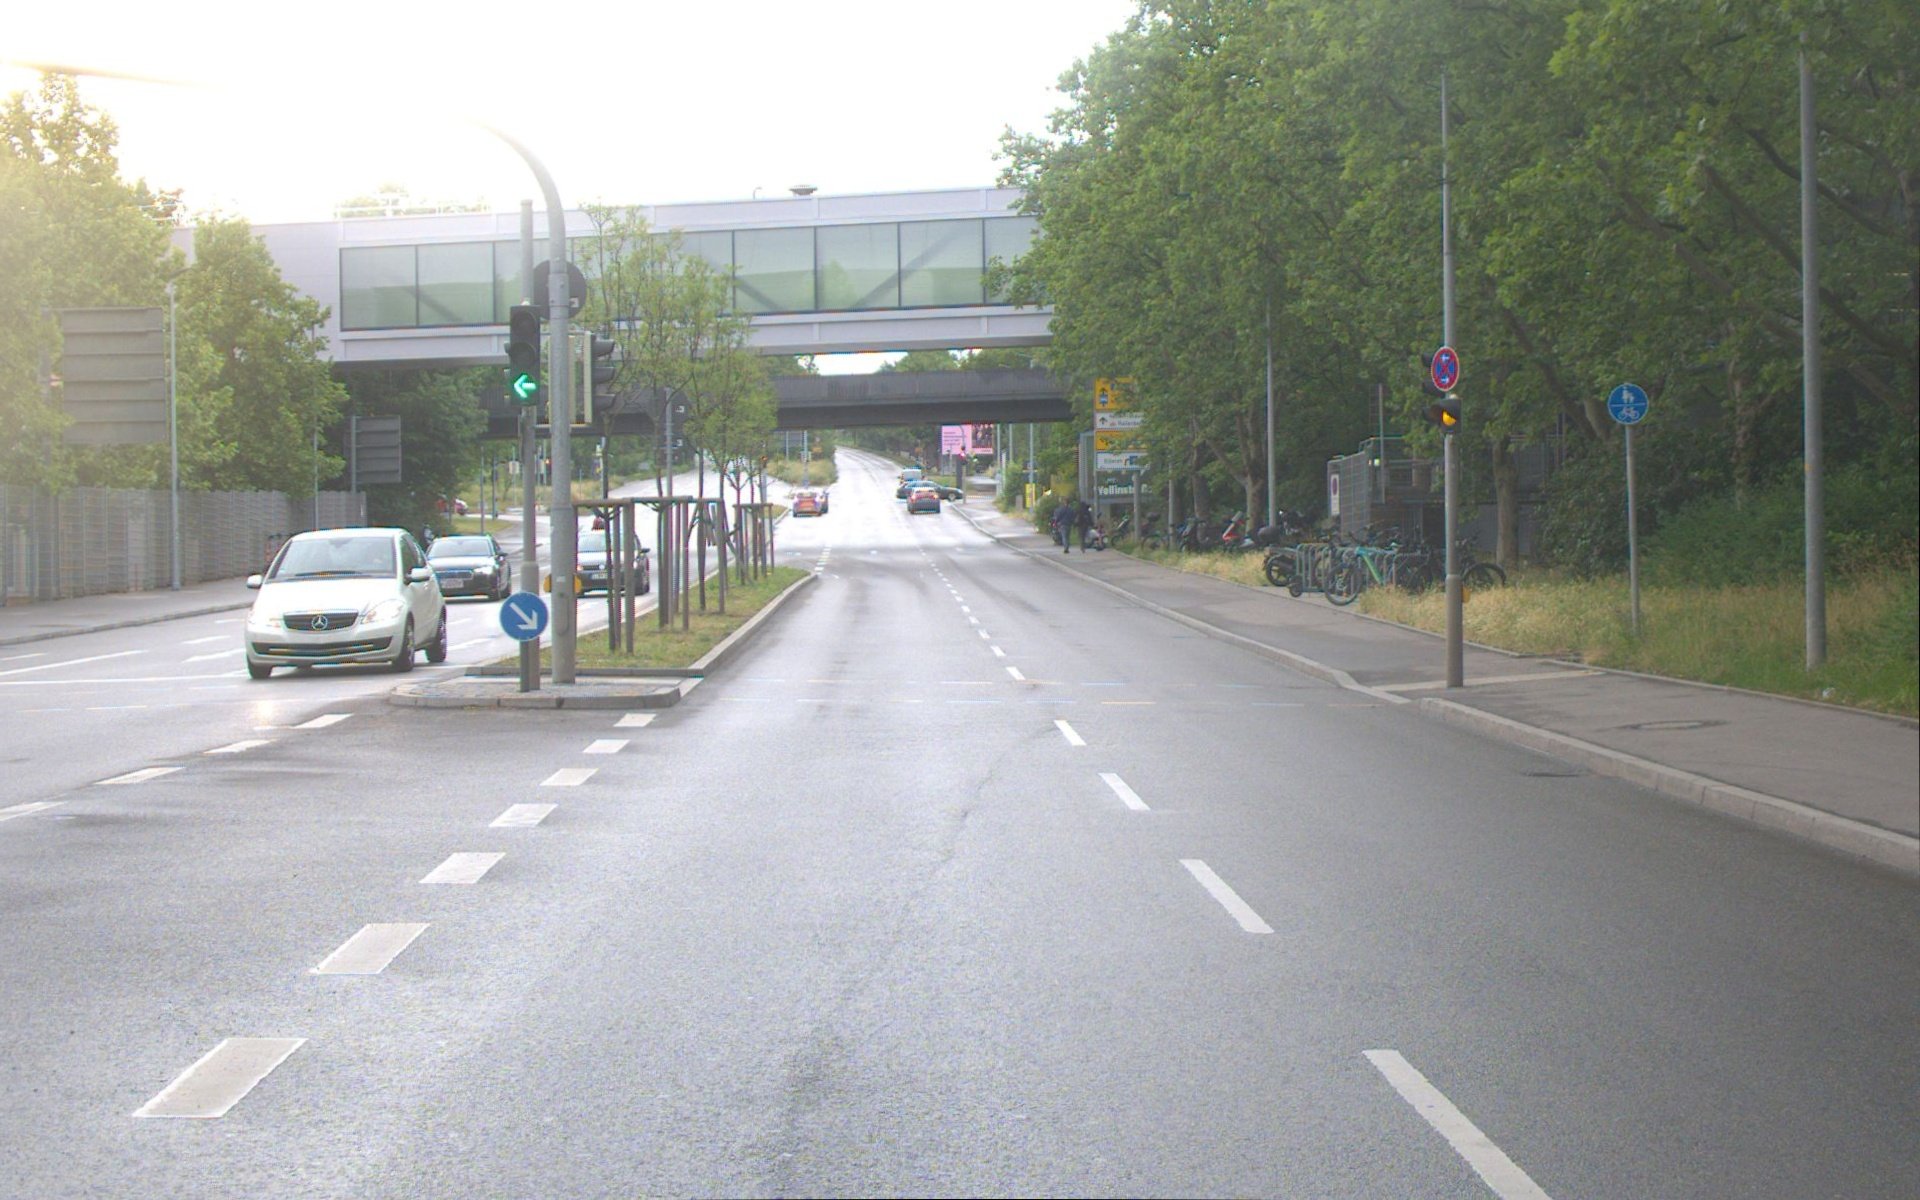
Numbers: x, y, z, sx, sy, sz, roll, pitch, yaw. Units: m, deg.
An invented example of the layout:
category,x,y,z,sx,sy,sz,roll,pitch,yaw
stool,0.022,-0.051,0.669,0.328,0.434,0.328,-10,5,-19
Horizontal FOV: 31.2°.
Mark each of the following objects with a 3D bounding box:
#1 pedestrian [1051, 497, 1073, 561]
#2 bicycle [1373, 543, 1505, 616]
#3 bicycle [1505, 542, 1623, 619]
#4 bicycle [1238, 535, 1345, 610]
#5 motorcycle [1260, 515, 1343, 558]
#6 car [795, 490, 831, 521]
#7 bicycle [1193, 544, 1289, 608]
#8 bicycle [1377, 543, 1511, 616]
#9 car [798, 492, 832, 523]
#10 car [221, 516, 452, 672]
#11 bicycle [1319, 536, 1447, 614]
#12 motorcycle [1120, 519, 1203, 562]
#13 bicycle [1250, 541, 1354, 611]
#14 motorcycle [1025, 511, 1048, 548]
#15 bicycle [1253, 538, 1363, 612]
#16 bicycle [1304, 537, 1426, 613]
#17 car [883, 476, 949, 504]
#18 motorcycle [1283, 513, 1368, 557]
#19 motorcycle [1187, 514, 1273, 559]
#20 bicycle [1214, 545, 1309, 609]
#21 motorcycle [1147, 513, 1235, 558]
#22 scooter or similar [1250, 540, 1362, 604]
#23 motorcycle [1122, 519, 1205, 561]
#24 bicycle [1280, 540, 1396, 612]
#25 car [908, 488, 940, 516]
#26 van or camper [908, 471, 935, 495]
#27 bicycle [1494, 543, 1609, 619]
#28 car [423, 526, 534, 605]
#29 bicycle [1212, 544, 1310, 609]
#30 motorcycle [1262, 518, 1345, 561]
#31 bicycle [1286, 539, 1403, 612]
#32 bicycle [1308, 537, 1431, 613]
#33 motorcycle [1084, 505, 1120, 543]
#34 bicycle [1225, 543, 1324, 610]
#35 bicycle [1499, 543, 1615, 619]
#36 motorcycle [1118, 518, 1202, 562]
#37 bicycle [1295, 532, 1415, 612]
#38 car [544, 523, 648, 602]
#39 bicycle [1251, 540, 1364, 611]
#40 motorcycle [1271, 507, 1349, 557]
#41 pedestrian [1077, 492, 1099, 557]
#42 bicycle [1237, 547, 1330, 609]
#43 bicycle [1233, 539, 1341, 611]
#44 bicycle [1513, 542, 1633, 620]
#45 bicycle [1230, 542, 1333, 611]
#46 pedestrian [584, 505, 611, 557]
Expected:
category,x,y,z,sx,sy,sz,roll,pitch,yaw
pedestrian,3.237,-2.241,108.760,0.622,2.007,0.605,-2,1,0
bicycle,7.575,-0.323,54.432,1.990,1.091,0.541,2,0,0
bicycle,10.877,-0.345,61.948,1.990,1.324,0.576,2,0,0
bicycle,6.511,-0.539,67.564,1.990,1.425,0.723,2,0,0
motorcycle,9.949,-1.850,100.198,2.369,1.198,0.722,-1,1,7
car,-8.827,-5.671,206.662,1.993,1.756,4.000,2,0,0
bicycle,6.017,-0.510,73.572,1.963,1.324,0.654,2,0,0
bicycle,7.580,-0.322,53.863,1.990,1.091,0.541,2,0,0
car,-8.909,-5.678,211.820,1.884,1.756,3.969,2,0,0
car,-6.885,-0.101,38.318,1.877,1.619,3.779,-1,1,0
bicycle,6.876,-0.406,55.890,1.990,1.212,0.541,2,0,0
motorcycle,5.905,-1.732,100.625,2.369,1.198,0.722,-1,1,7
bicycle,6.801,-0.481,68.418,1.990,1.324,0.576,2,0,0
motorcycle,3.195,-2.964,144.594,0.790,1.528,2.377,-2,1,-2
bicycle,6.591,-0.470,65.078,1.990,1.324,0.576,2,0,0
bicycle,6.924,-0.421,58.768,1.990,1.237,0.541,2,0,0
car,-3.038,-7.539,236.293,4.510,1.756,1.905,2,0,-1
motorcycle,10.520,-1.881,98.899,2.369,1.198,0.722,-1,1,7
motorcycle,7.604,-1.798,96.800,2.369,1.198,0.722,-1,1,7
bicycle,6.514,-0.497,74.377,1.963,1.324,0.654,2,0,0
motorcycle,6.411,-1.792,95.324,2.369,1.198,0.722,-1,1,7
scooter or similar,6.425,-0.514,63.927,1.990,1.134,0.541,2,0,0
motorcycle,6.016,-1.771,101.539,2.369,1.198,0.722,-1,1,7
bicycle,6.787,-0.429,61.798,1.990,1.237,0.541,2,0,0
car,-2.115,-5.760,202.939,1.875,1.492,4.068,2,0,0
van or camper,-2.961,-8.931,262.893,1.797,1.807,3.767,1,2,-4
bicycle,10.876,-0.346,63.262,1.990,1.324,0.576,2,0,0
car,-10.369,-0.765,74.272,1.877,1.619,3.779,-1,1,0
bicycle,6.359,-0.499,72.659,1.963,1.324,0.654,2,0,0
motorcycle,10.105,-1.772,101.139,2.369,1.198,0.722,-1,1,7
bicycle,6.802,-0.427,60.849,1.990,1.237,0.541,2,0,0
bicycle,6.916,-0.416,58.080,1.990,1.229,0.541,2,0,0
motorcycle,5.020,-2.690,121.723,0.790,1.307,2.377,-2,1,-9
bicycle,6.497,-0.493,71.057,1.963,1.324,0.654,2,0,0
bicycle,10.870,-0.346,62.614,1.990,1.324,0.576,2,0,0
motorcycle,5.800,-1.743,99.767,2.369,1.198,0.722,-1,1,7
bicycle,6.907,-0.489,60.157,1.990,1.336,0.541,2,0,0
car,-7.899,-0.833,74.885,1.877,1.619,3.779,-1,1,0
bicycle,6.373,-0.443,63.172,1.990,1.237,0.541,2,0,0
motorcycle,10.908,-2.116,107.038,2.369,1.471,0.722,-1,1,7
pedestrian,4.036,-2.386,108.635,0.622,2.007,0.605,-2,1,0
bicycle,7.144,-0.481,75.880,1.963,1.324,0.654,2,0,0
bicycle,6.258,-0.481,65.887,1.990,1.324,0.576,2,0,0
bicycle,10.904,-0.343,61.185,1.990,1.324,0.576,2,0,0
bicycle,6.465,-0.479,69.129,1.990,1.324,0.576,2,0,0
pedestrian,-14.044,-2.666,133.269,0.872,1.997,0.855,-1,1,2
